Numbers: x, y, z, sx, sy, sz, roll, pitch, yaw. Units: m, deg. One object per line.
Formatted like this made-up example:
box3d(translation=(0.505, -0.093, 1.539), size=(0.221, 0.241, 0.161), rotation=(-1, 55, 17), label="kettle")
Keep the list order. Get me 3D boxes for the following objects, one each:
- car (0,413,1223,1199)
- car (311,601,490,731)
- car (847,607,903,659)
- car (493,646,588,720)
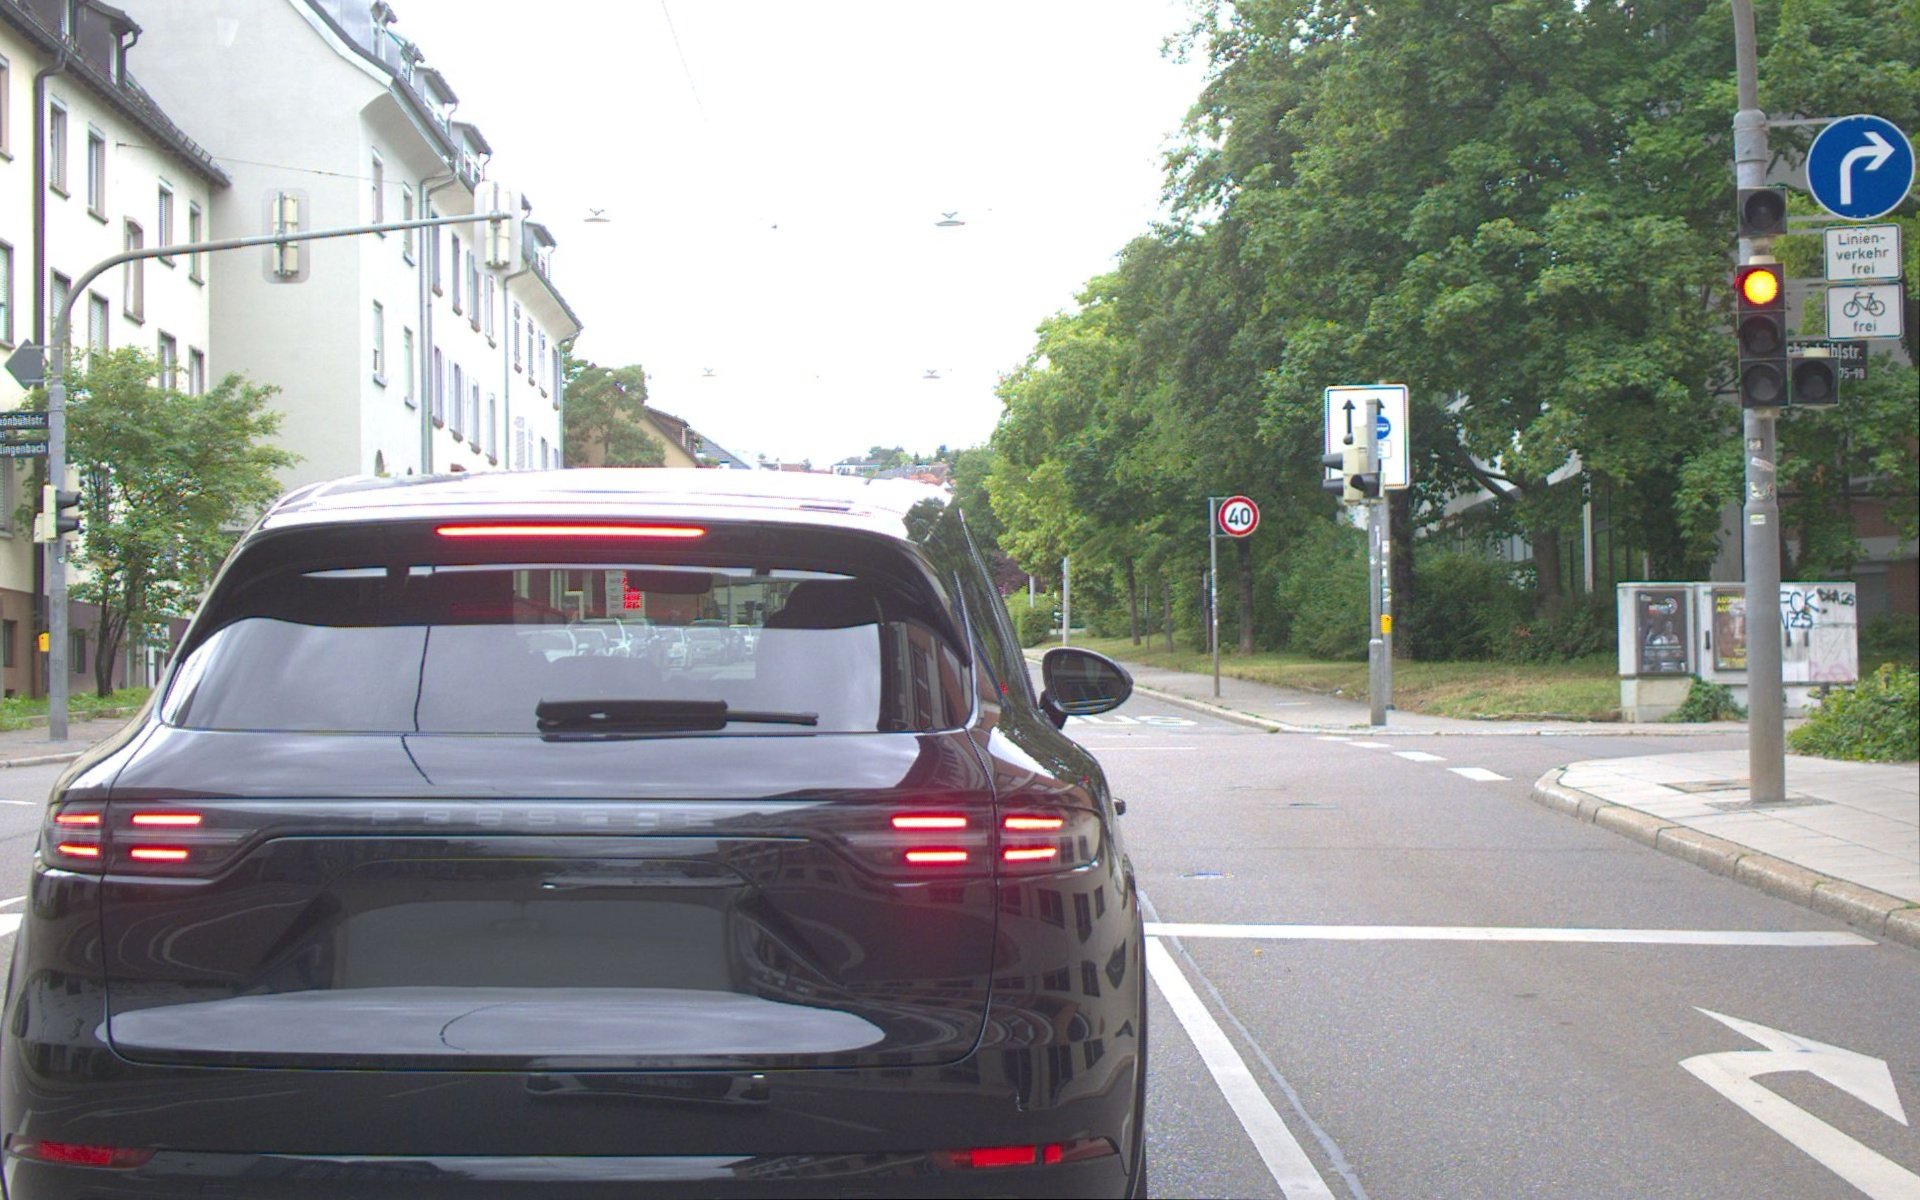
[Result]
box3d(translation=(-0.635, 0.556, 7.162), size=(1.993, 1.691, 4.000), rotation=(1, 1, -1), label="car")
box3d(translation=(-7.373, 0.841, 45.573), size=(1.664, 1.514, 3.740), rotation=(-4, 0, 0), label="car")
box3d(translation=(-2.723, 1.048, 109.711), size=(1.688, 1.547, 3.889), rotation=(1, 1, -2), label="car")
box3d(translation=(-8.480, 1.667, 69.674), size=(1.669, 1.357, 4.001), rotation=(0, 1, -3), label="car")
